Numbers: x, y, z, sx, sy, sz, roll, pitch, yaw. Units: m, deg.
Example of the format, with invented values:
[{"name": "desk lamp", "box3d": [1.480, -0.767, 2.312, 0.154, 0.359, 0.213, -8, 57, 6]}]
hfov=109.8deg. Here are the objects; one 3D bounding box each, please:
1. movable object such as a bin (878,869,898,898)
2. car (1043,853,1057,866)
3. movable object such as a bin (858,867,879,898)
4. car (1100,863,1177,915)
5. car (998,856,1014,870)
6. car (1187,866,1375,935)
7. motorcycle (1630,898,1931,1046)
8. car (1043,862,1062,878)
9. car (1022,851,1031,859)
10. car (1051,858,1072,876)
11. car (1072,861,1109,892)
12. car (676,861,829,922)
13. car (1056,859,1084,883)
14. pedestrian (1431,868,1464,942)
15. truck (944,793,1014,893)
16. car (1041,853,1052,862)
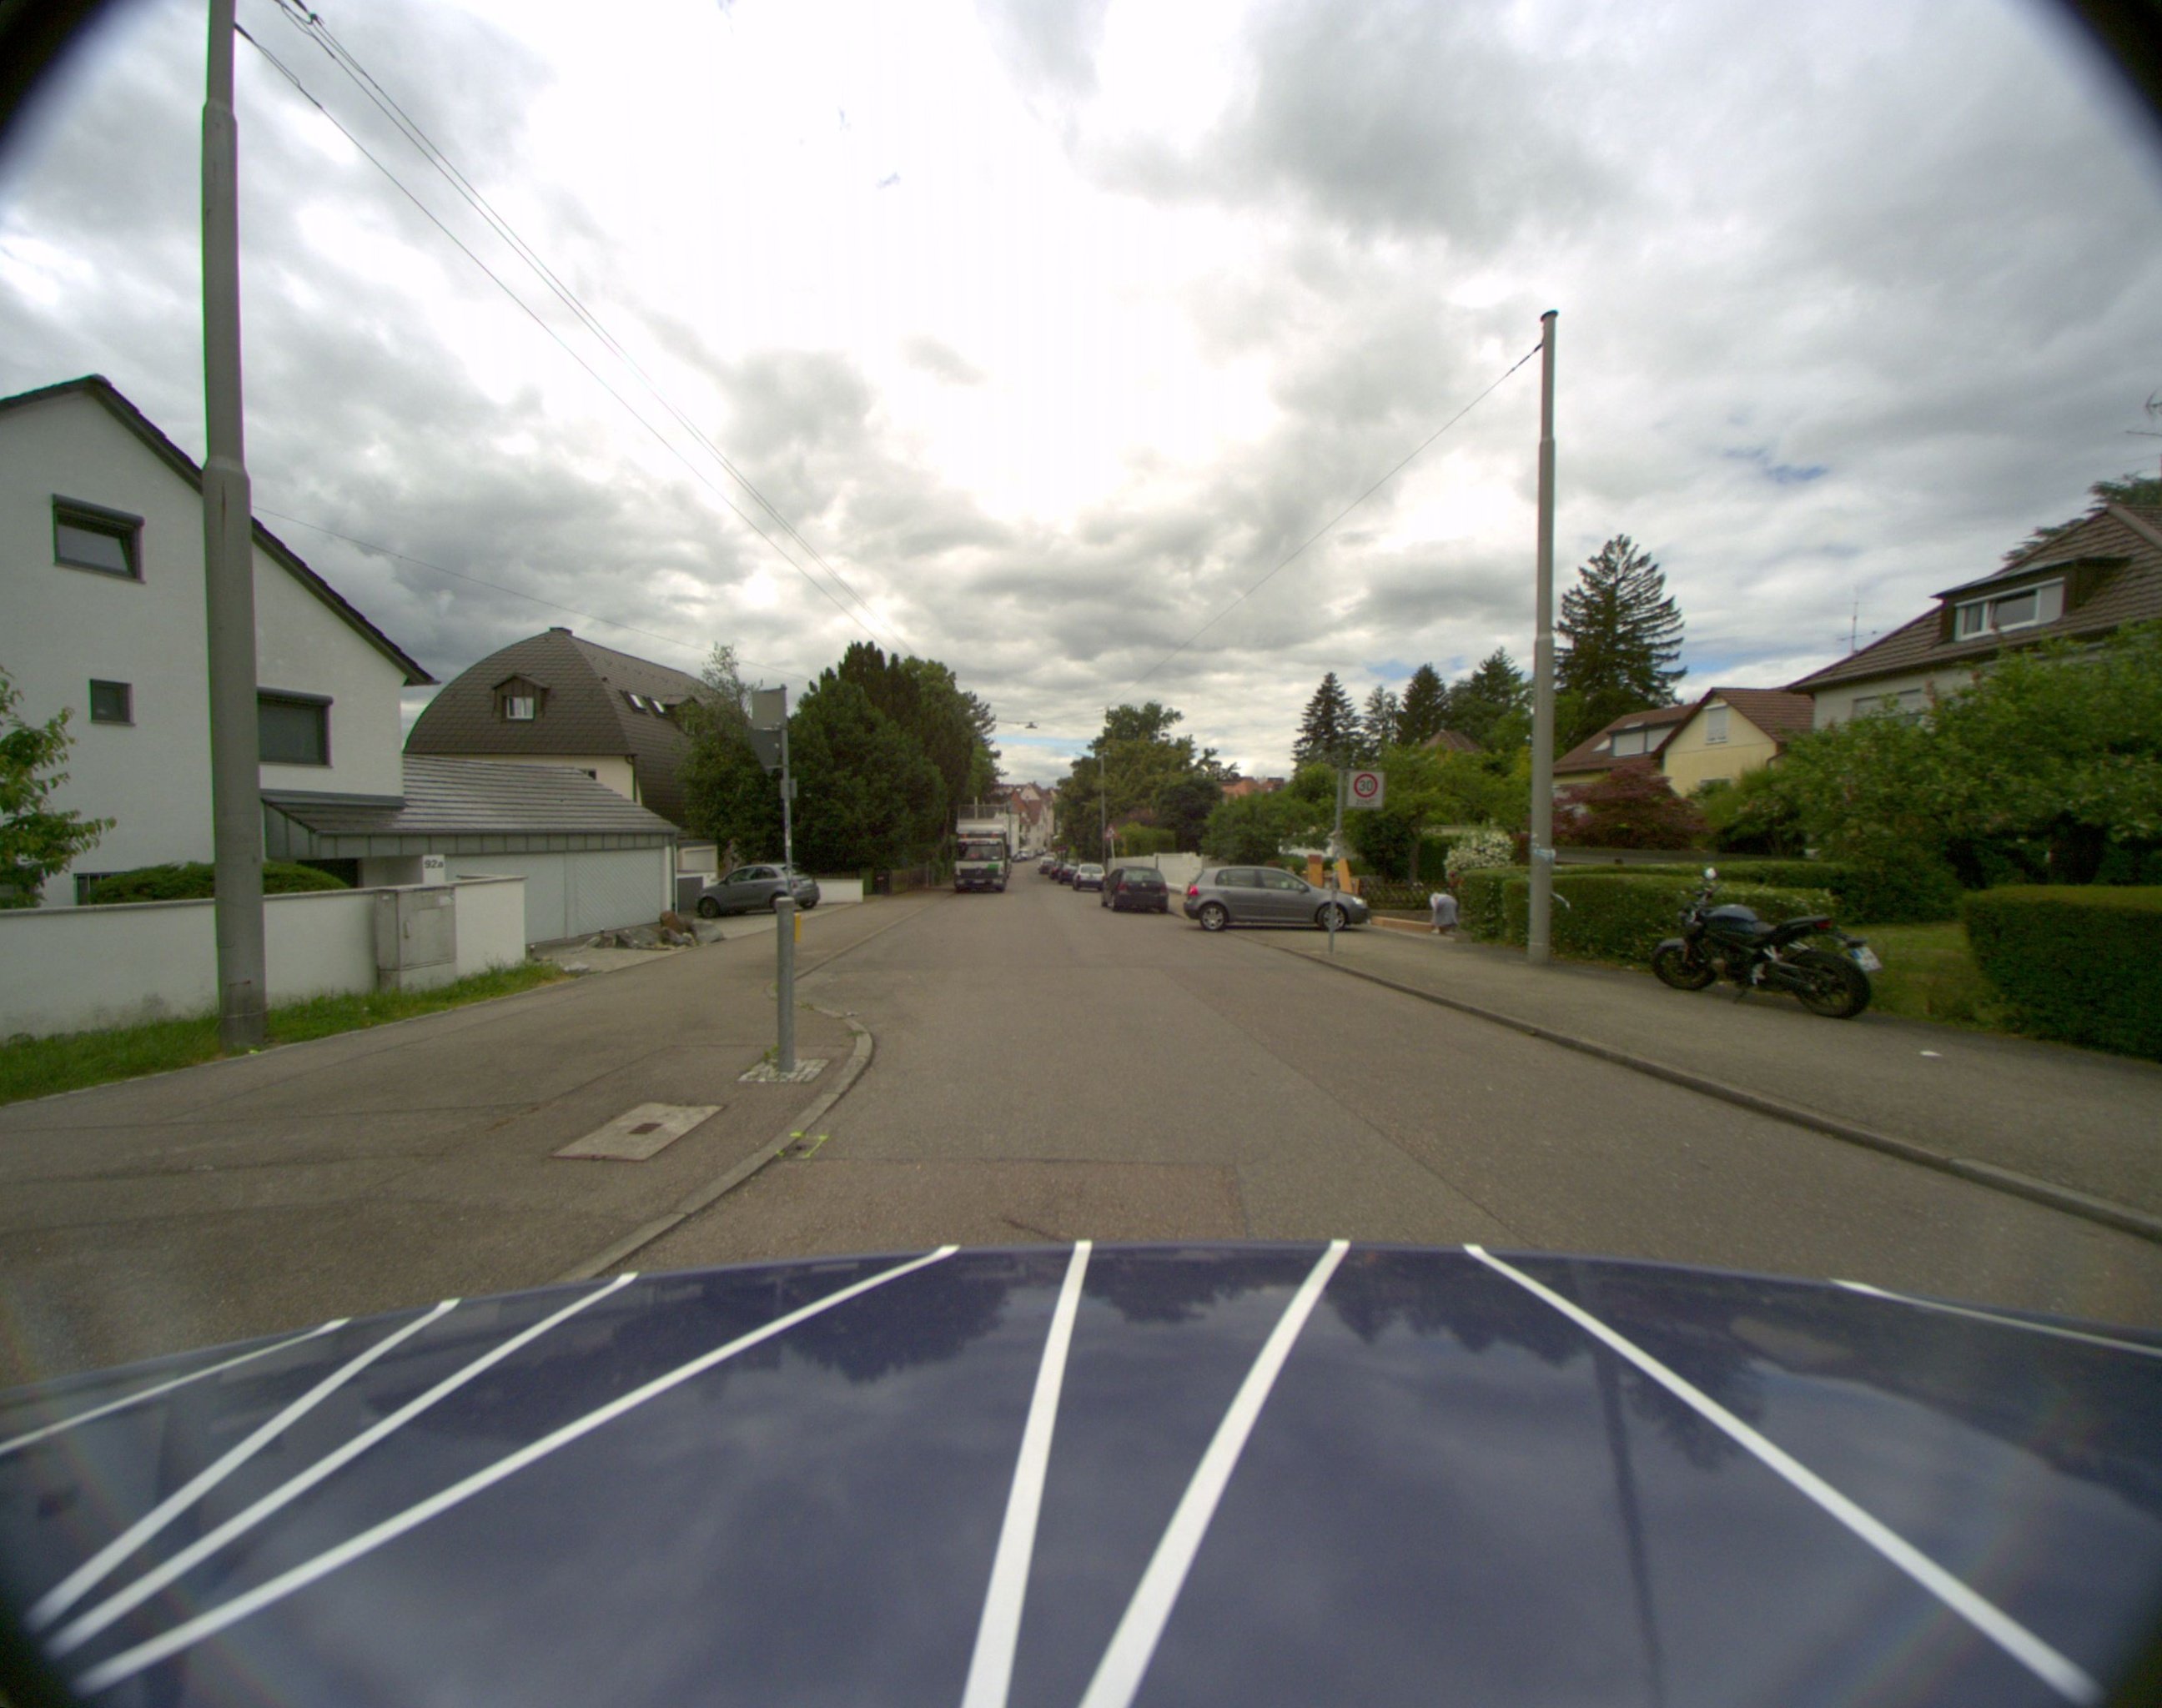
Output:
[{"name": "movable object such as a bin", "box3d": [-7.612, 1.172, 30.028, 0.600, 1.098, 0.951, -3, -2, -7]}, {"name": "car", "box3d": [-3.819, 0.673, 93.769, 1.621, 1.460, 3.311, 3, 0, -4]}, {"name": "movable object such as a bin", "box3d": [-8.352, 1.125, 29.927, 0.600, 1.200, 0.951, -3, -2, -7]}, {"name": "car", "box3d": [1.755, 1.073, 24.420, 1.759, 1.435, 3.800, 2, 0, -6]}, {"name": "car", "box3d": [-9.141, 1.066, 92.843, 1.876, 1.543, 3.822, 0, 1, -4]}, {"name": "car", "box3d": [4.549, 1.033, 17.558, 3.992, 1.454, 1.739, -1, 0, 14]}, {"name": "motorcycle", "box3d": [6.731, 1.061, 7.527, 0.775, 1.133, 2.144, 0, 0, -11]}, {"name": "car", "box3d": [-3.270, 1.782, 87.014, 1.888, 1.746, 3.700, 0, 1, -7]}, {"name": "car", "box3d": [-10.903, 0.123, 152.130, 1.876, 1.543, 3.822, 0, 1, -4]}, {"name": "car", "box3d": [-1.656, 1.088, 64.370, 1.539, 1.460, 3.312, 3, -1, -4]}, {"name": "car", "box3d": [0.469, 1.148, 40.319, 1.621, 1.460, 3.311, 3, 0, -4]}, {"name": "car", "box3d": [-9.886, 1.109, 22.981, 3.853, 1.488, 1.693, -4, 0, 9]}, {"name": "car", "box3d": [-0.774, 1.115, 50.665, 1.621, 1.460, 3.311, 3, 0, -4]}, {"name": "pedestrian", "box3d": [9.106, 1.243, 18.892, 0.645, 1.794, 0.614, 0, 1, 16]}, {"name": "truck", "box3d": [-5.086, -0.506, 38.636, 3.154, 4.524, 7.948, 1, 0, -6]}, {"name": "car", "box3d": [-5.149, 0.538, 113.086, 1.424, 1.277, 3.311, 3, 0, -4]}]
